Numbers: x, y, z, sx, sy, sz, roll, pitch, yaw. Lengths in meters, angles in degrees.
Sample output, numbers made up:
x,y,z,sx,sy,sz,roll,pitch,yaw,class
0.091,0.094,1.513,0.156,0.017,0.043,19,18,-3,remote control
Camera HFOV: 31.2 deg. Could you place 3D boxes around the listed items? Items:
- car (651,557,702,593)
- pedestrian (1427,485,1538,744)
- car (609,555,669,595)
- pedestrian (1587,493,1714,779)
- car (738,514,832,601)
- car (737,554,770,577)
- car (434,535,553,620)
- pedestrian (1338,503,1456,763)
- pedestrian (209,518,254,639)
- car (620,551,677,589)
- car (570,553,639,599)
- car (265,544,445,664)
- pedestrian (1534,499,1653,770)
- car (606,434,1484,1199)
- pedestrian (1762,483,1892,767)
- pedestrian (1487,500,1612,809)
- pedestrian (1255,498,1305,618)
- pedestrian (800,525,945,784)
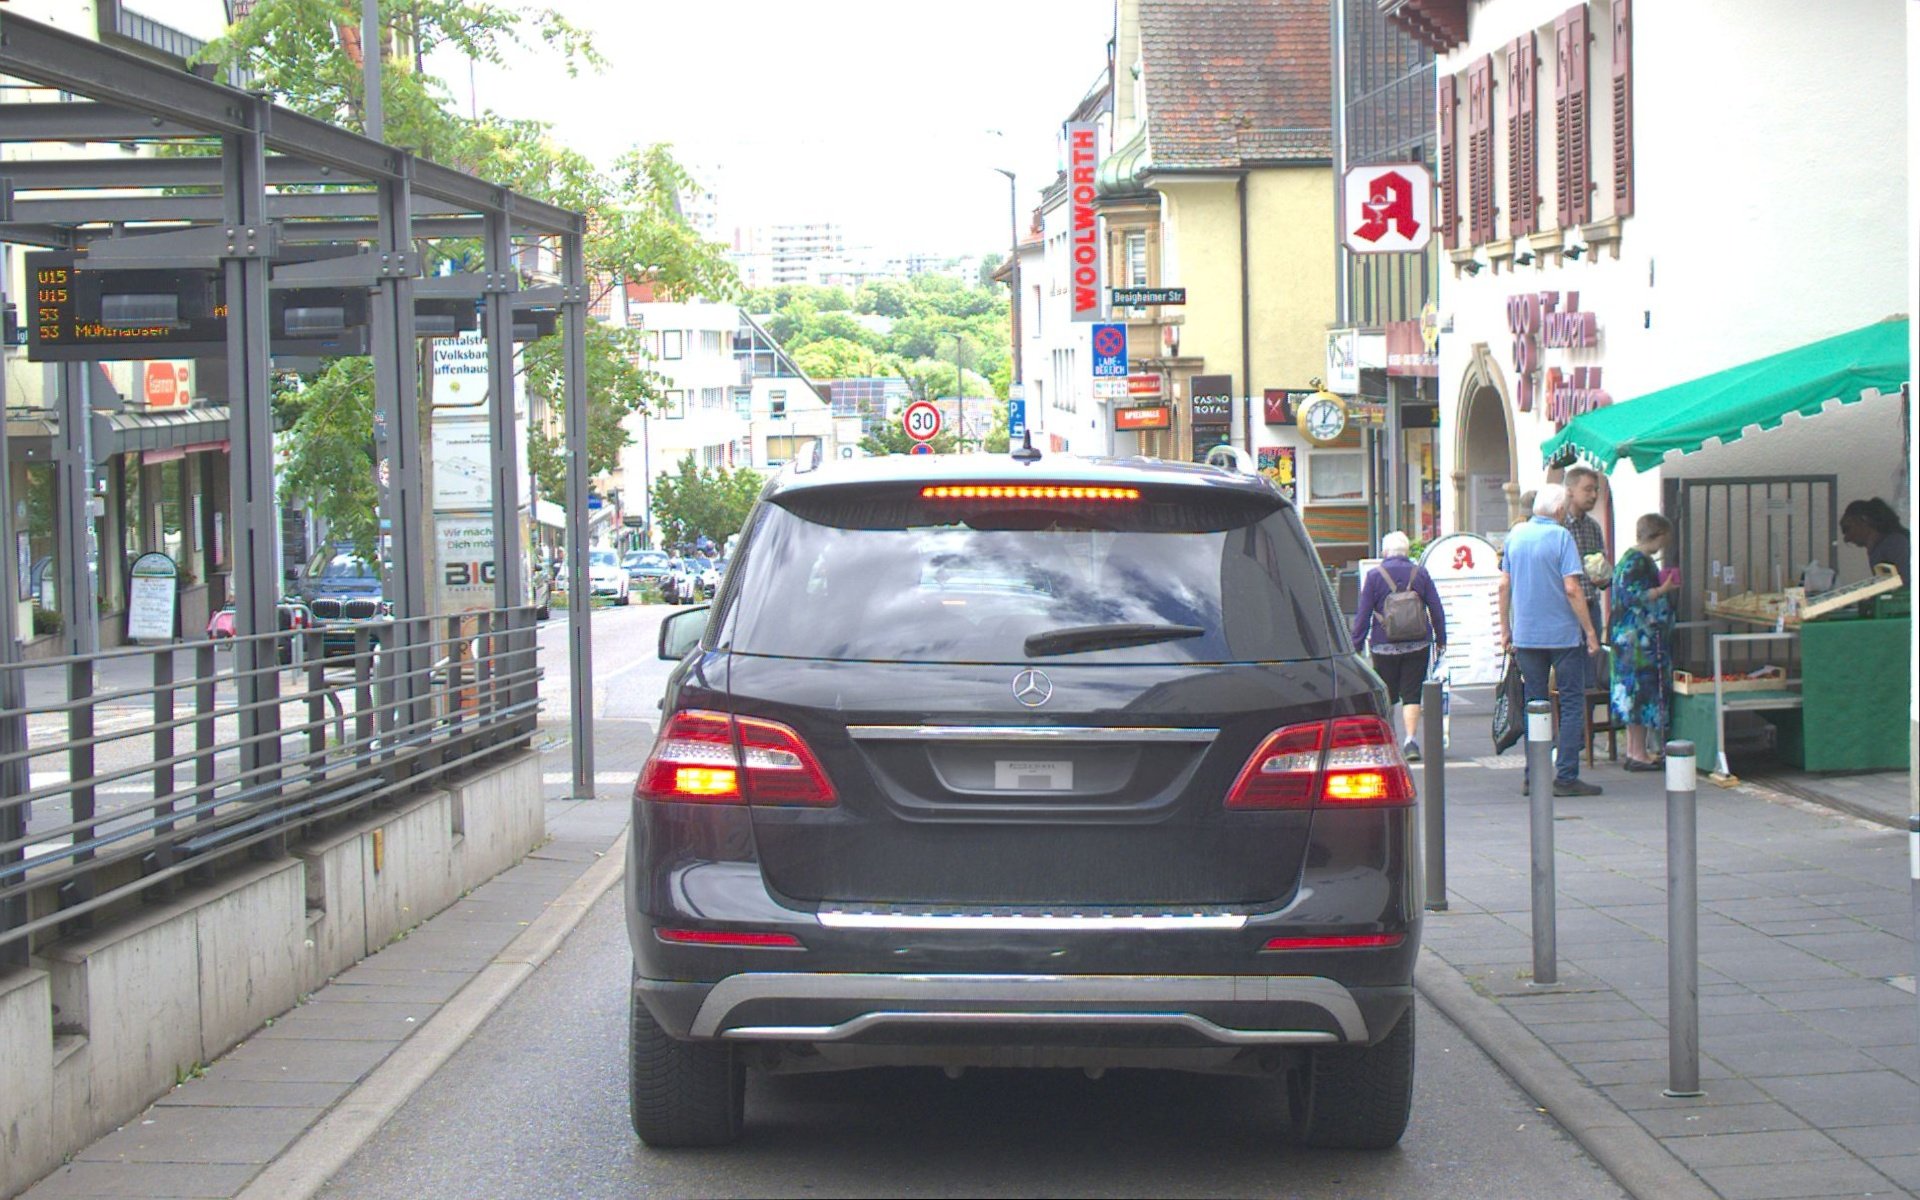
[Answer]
x,y,z,sx,sy,sz,roll,pitch,yaw,class
-9.154,-0.811,111.090,1.388,1.066,3.113,-1,1,0,car
3.715,0.096,24.481,0.639,1.803,0.685,1,1,-1,pedestrian
-9.104,-0.721,97.727,1.388,1.066,3.113,-1,1,0,car
4.148,0.208,20.681,0.573,1.683,0.566,-1,1,-6,pedestrian
-3.591,-0.896,71.064,1.770,1.707,4.000,1,1,-1,car
-9.893,-1.651,164.881,1.388,1.066,3.113,-1,1,0,car
-8.544,-0.436,63.242,1.660,1.484,3.748,1,1,0,car
2.870,0.211,22.616,0.621,1.683,0.566,1,1,-6,pedestrian
-10.248,-0.306,48.366,0.513,1.683,0.541,1,1,-1,pedestrian
-9.322,-0.913,103.091,1.388,1.066,3.113,-1,1,0,car
-8.850,-0.608,85.753,1.388,1.066,3.113,-1,1,0,car
-8.053,0.022,46.049,1.689,1.484,3.979,1,1,0,car
4.000,0.213,21.734,0.573,1.683,0.566,1,1,-6,pedestrian
0.116,0.483,9.536,1.900,1.741,4.001,1,1,-2,car
5.244,0.145,20.819,0.573,1.683,0.566,-1,1,-6,pedestrian
3.339,0.299,19.496,0.542,1.720,0.528,-1,1,-6,pedestrian
4.569,-0.600,49.072,0.606,1.683,0.724,-1,1,-1,pedestrian
-0.581,0.348,22.925,0.766,1.683,0.727,1,1,15,pedestrian
